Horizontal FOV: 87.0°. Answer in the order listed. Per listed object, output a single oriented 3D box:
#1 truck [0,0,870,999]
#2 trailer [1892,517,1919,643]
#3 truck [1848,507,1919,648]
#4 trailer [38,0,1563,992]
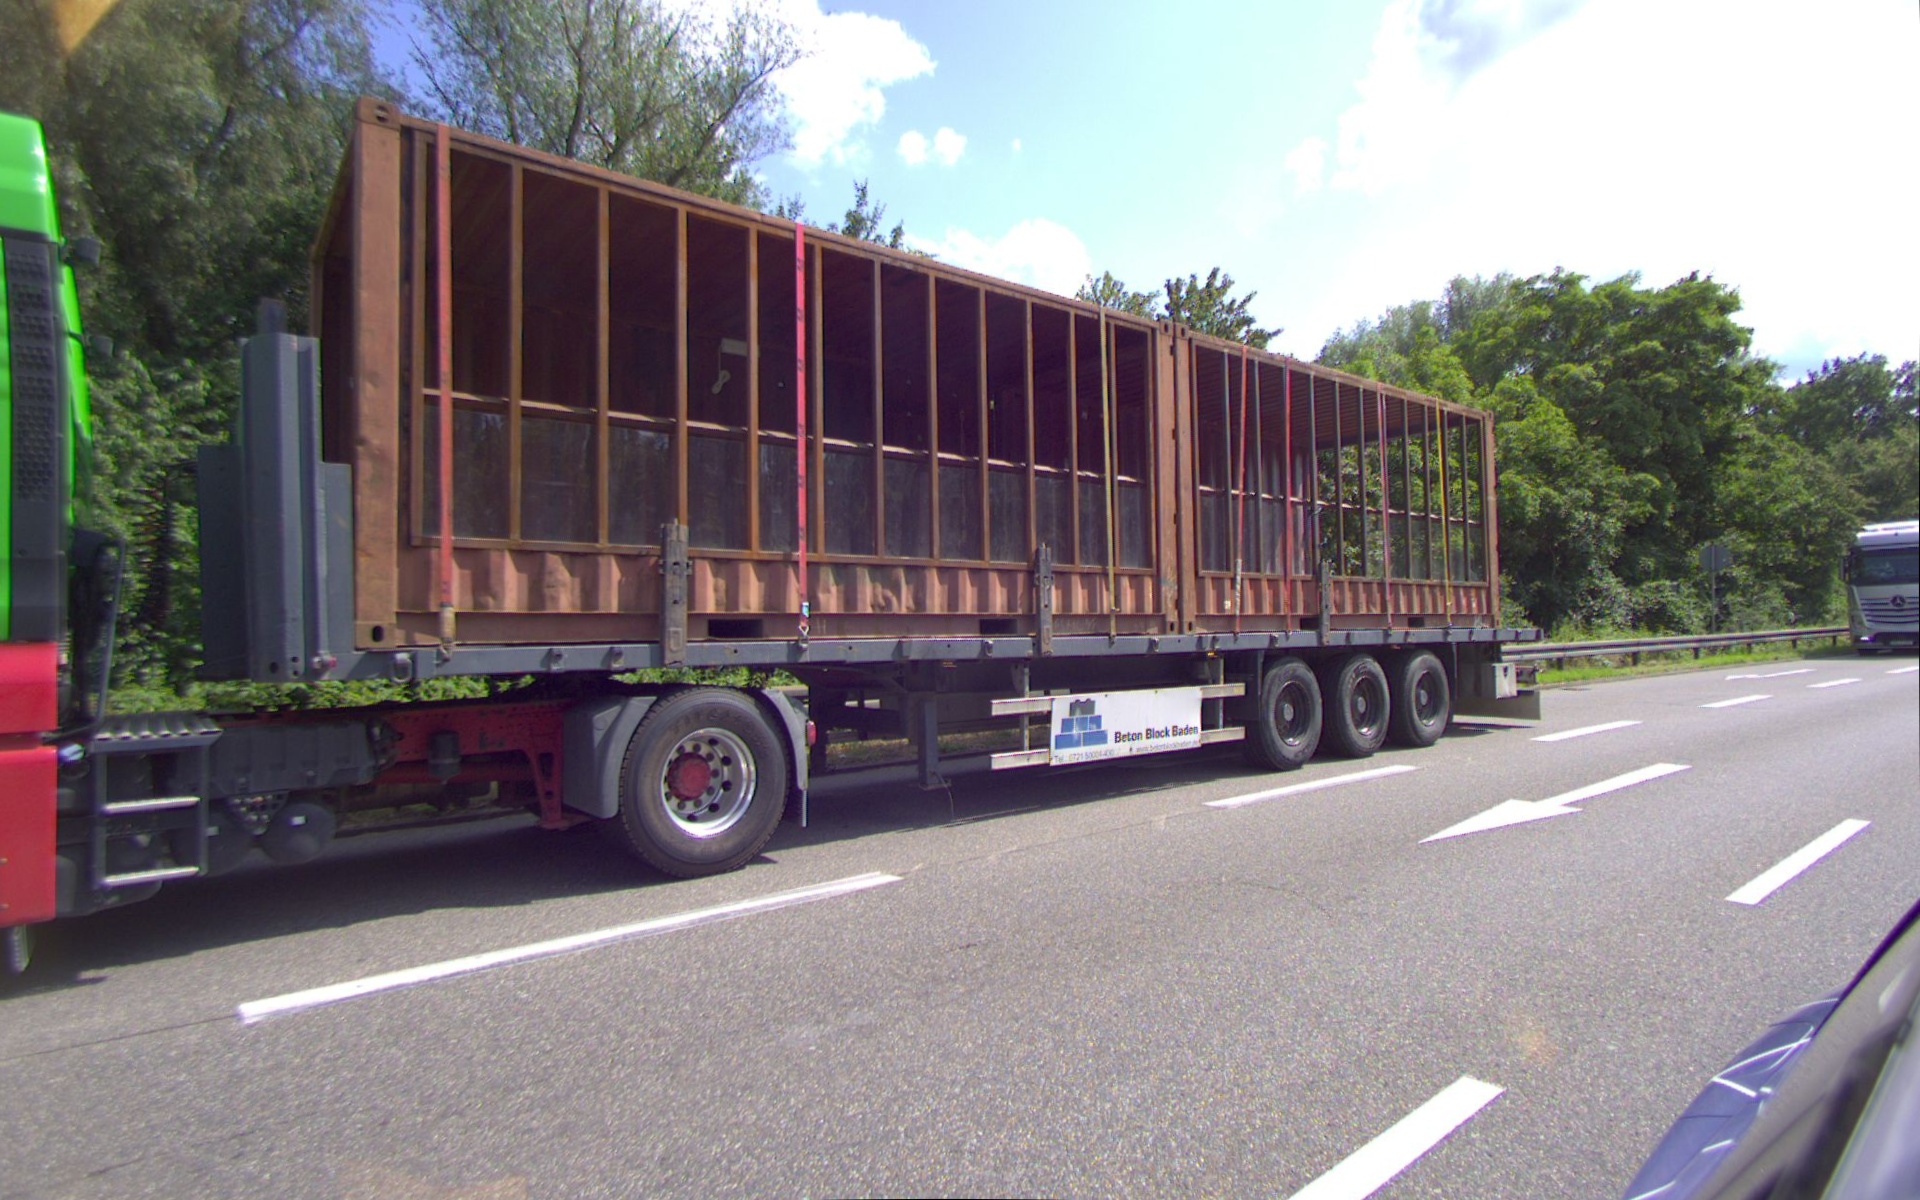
[{"bbox_3d":[-3.716,-0.417,5.500,5.951,3.945,2.590,0,-3,-39],"label":"truck"},{"bbox_3d":[36.083,-0.681,35.297,12.157,4.023,2.695,0,-3,-36],"label":"trailer"},{"bbox_3d":[30.243,-0.630,31.101,7.243,4.023,2.692,0,-3,-36],"label":"truck"},{"bbox_3d":[1.199,-0.410,9.421,14.237,3.944,2.590,0,-3,-39],"label":"trailer"}]
